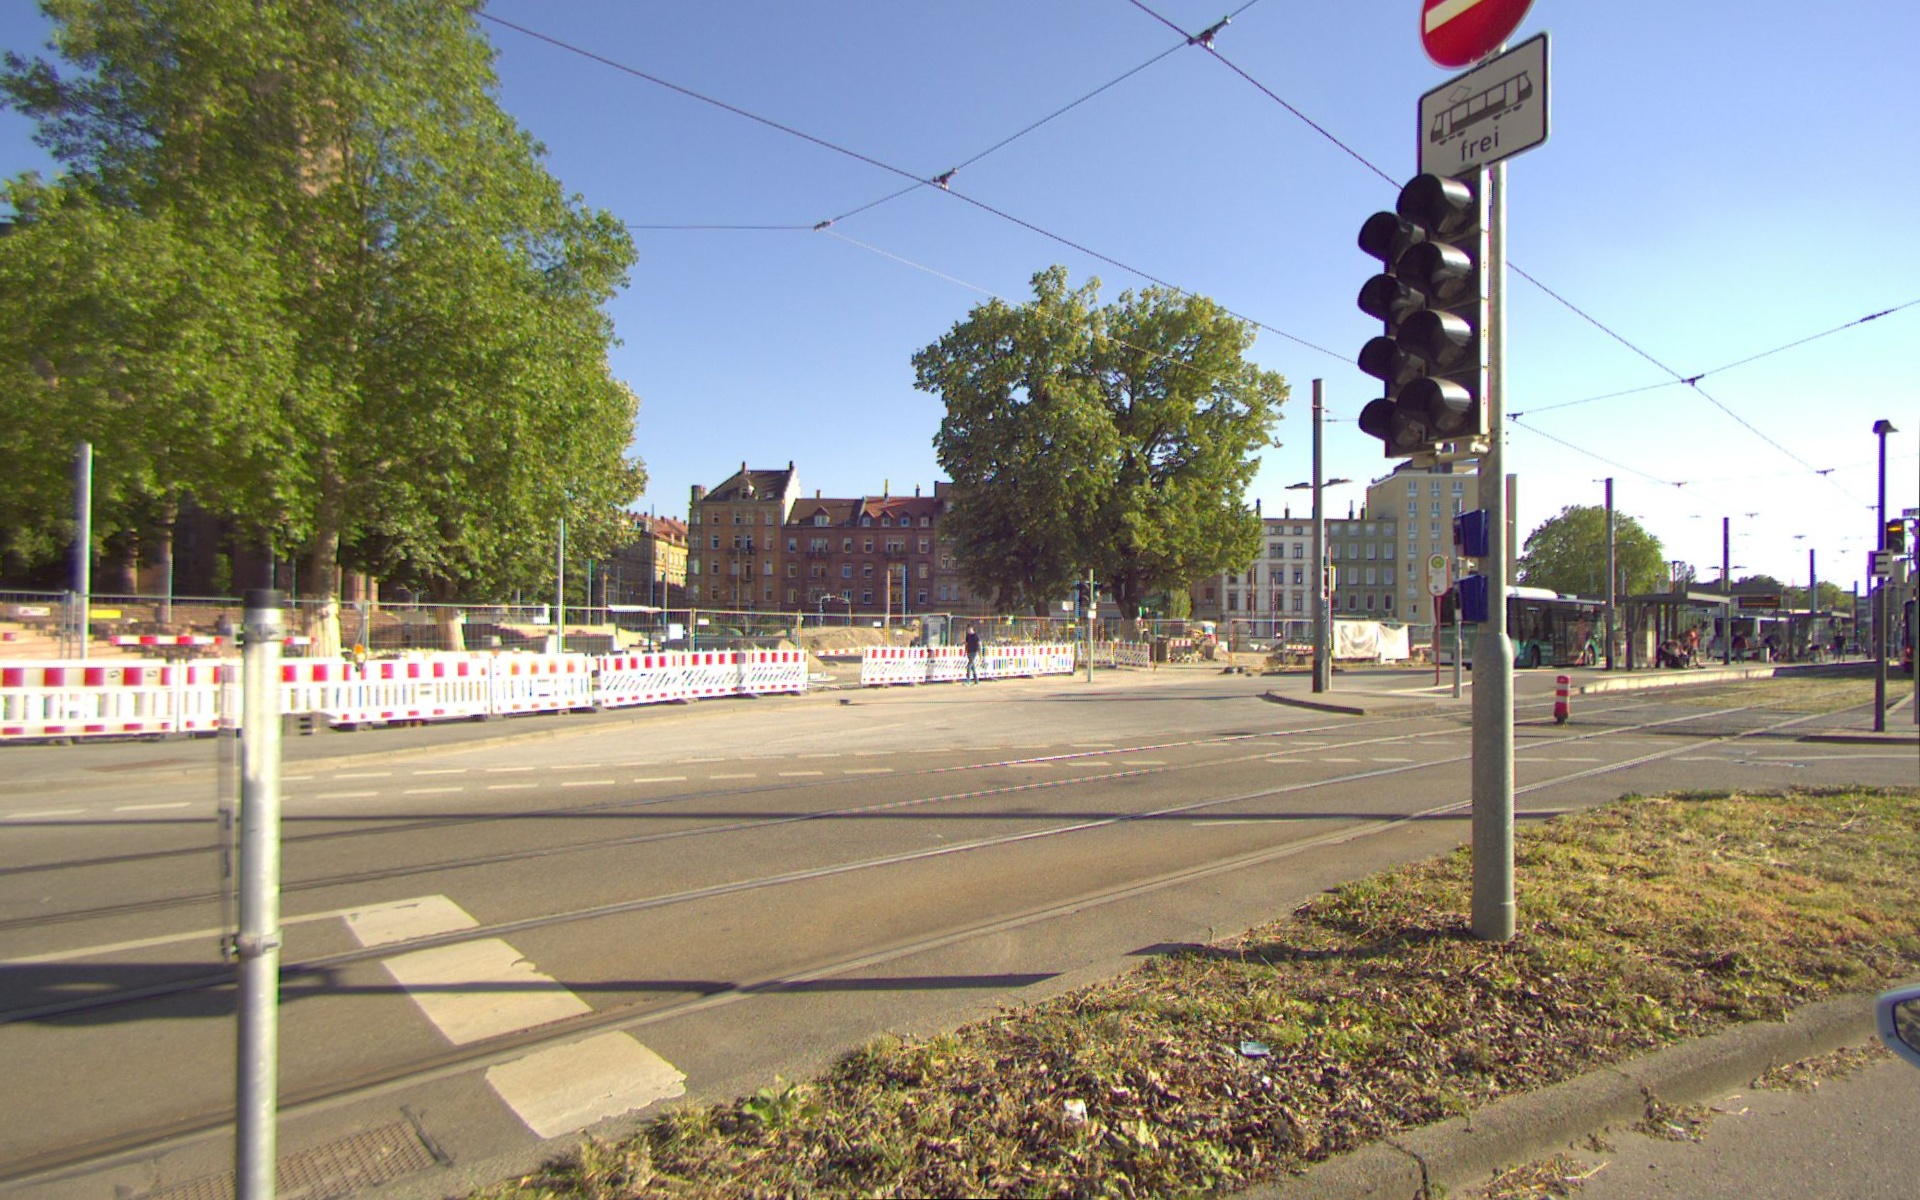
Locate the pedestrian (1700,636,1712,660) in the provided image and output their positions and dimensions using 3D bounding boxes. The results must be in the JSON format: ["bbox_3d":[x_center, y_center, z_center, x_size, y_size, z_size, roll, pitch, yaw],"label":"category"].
[{"bbox_3d":[56.449,3.632,76.004,0.567,1.772,0.633,2,-2,-36],"label":"pedestrian"}]

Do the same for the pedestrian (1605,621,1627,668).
[{"bbox_3d":[25.200,1.705,38.594,0.554,1.772,0.534,2,-2,-35],"label":"pedestrian"}]

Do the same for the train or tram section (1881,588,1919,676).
[{"bbox_3d":[44.751,1.493,45.826,12.108,3.644,2.855,2,0,-42],"label":"train or tram section"}]

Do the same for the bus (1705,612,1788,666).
[{"bbox_3d":[53.957,2.634,68.748,13.376,3.317,2.694,2,0,-44],"label":"bus"}]

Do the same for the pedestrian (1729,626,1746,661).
[{"bbox_3d":[40.613,2.270,52.455,0.629,1.772,0.570,-1,-2,34],"label":"pedestrian"}]

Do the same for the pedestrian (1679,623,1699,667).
[{"bbox_3d":[29.558,1.813,40.727,0.564,1.772,0.636,-1,-2,43],"label":"pedestrian"}]

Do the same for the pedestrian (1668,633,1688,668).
[{"bbox_3d":[28.179,1.985,39.407,0.564,1.363,0.636,-1,-2,43],"label":"pedestrian"}]

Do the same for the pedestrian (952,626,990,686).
[{"bbox_3d":[0.331,1.639,29.322,0.699,1.719,0.899,-1,-4,33],"label":"pedestrian"}]

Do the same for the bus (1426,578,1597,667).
[{"bbox_3d":[21.997,0.901,39.749,9.564,3.177,2.631,2,0,-40],"label":"bus"}]

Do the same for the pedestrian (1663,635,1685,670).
[{"bbox_3d":[27.670,2.020,38.931,0.609,1.358,0.438,-1,-2,44],"label":"pedestrian"}]

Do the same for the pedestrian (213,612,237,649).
[{"bbox_3d":[-33.446,1.398,45.713,0.665,1.669,0.635,1,-1,-18],"label":"pedestrian"}]

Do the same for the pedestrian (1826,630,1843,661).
[{"bbox_3d":[49.698,2.569,57.060,0.629,1.772,0.570,-1,-2,34],"label":"pedestrian"}]

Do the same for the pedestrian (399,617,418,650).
[{"bbox_3d":[-27.715,1.676,50.482,0.751,1.669,0.671,1,-1,-26],"label":"pedestrian"}]

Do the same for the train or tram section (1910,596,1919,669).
[{"bbox_3d":[53.888,1.821,53.780,12.100,3.644,2.987,2,0,-40],"label":"train or tram section"}]
